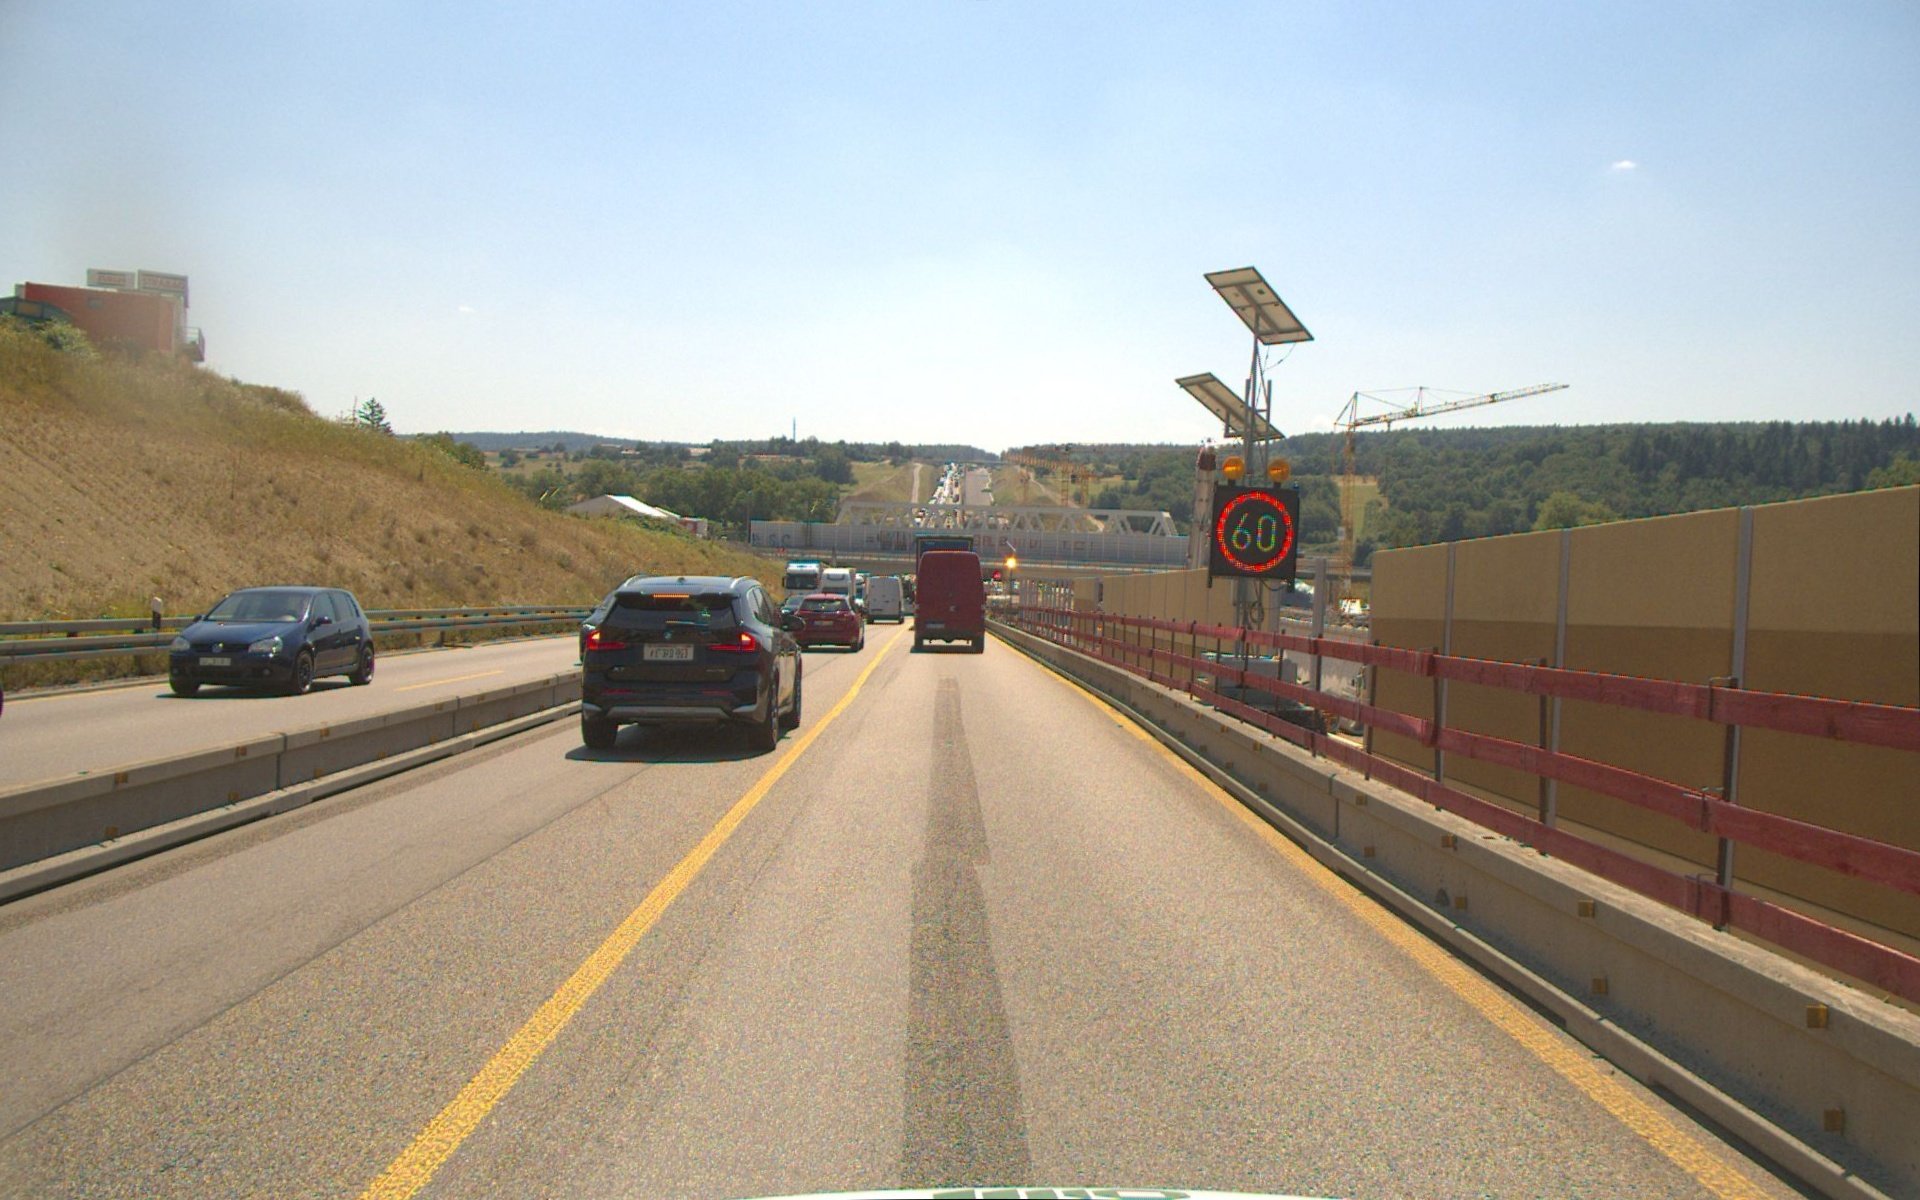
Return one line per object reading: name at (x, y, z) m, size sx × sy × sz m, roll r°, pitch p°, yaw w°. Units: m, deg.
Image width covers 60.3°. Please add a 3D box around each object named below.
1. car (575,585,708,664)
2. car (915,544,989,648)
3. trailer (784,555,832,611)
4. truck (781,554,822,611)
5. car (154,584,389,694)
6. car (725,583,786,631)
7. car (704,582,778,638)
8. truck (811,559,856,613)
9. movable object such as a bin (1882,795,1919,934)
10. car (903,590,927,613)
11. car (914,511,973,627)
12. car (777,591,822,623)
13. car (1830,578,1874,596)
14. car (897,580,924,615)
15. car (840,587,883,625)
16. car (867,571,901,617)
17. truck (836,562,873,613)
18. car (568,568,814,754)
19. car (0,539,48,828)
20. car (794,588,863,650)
car at (-6.688, 0.478, 35.271) m, size 1.915 × 1.525 × 5.089 m, roll 1°, pitch 0°, yaw -1°
car at (-0.244, -0.118, 46.141) m, size 1.948 × 2.737 × 4.623 m, roll 0°, pitch 0°, yaw -1°
trailer at (-11.837, -1.298, 129.770) m, size 2.643 × 4.095 × 13.699 m, roll 1°, pitch 0°, yaw -1°
truck at (-11.699, -1.272, 122.239) m, size 2.643 × 4.120 × 3.954 m, roll 1°, pitch 0°, yaw -1°
car at (-9.833, 0.500, 23.981) m, size 1.675 × 1.443 × 4.242 m, roll 1°, pitch 0°, yaw -1°
car at (-7.669, 0.256, 62.386) m, size 1.807 × 1.694 × 4.388 m, roll 1°, pitch 0°, yaw -1°
car at (-7.062, 0.297, 53.716) m, size 1.807 × 1.694 × 4.687 m, roll 1°, pitch 0°, yaw -1°
truck at (-8.411, -0.927, 110.503) m, size 2.486 × 3.433 × 7.036 m, roll 1°, pitch 0°, yaw -1°
movable object such as a bin at (19.817, 5.231, 30.931) m, size 2.555 × 2.533 × 4.453 m, roll 2°, pitch 0°, yaw -1°
car at (-3.409, 0.110, 125.127) m, size 1.740 × 1.699 × 4.028 m, roll 0°, pitch 0°, yaw -1°
car at (-0.800, -1.386, 78.201) m, size 2.568 × 5.120 × 10.394 m, roll 0°, pitch 0°, yaw -1°
car at (-7.714, 0.324, 79.668) m, size 1.760 × 1.452 × 4.948 m, roll 1°, pitch 0°, yaw -1°
car at (78.695, -1.119, 145.951) m, size 1.678 × 1.544 × 4.075 m, roll 1°, pitch 0°, yaw 1°
car at (-3.358, -0.179, 111.908) m, size 1.740 × 2.370 × 4.205 m, roll 0°, pitch 0°, yaw -1°
car at (-4.441, 0.238, 75.244) m, size 1.802 × 1.683 × 4.164 m, roll 0°, pitch 0°, yaw -1°
car at (-4.170, -0.317, 91.490) m, size 1.740 × 2.484 × 4.205 m, roll 0°, pitch 0°, yaw -1°
truck at (-8.311, -0.982, 130.506) m, size 2.537 × 3.824 × 7.357 m, roll 1°, pitch 0°, yaw -1°
car at (-2.595, 0.535, 16.967) m, size 1.841 × 1.646 × 4.498 m, roll 0°, pitch 0°, yaw -1°
car at (-6.432, 0.503, 7.426) m, size 1.802 × 1.683 × 5.370 m, roll 0°, pitch 0°, yaw -1°
car at (-3.475, 0.474, 43.722) m, size 1.741 × 1.544 × 4.202 m, roll 0°, pitch 0°, yaw -5°
